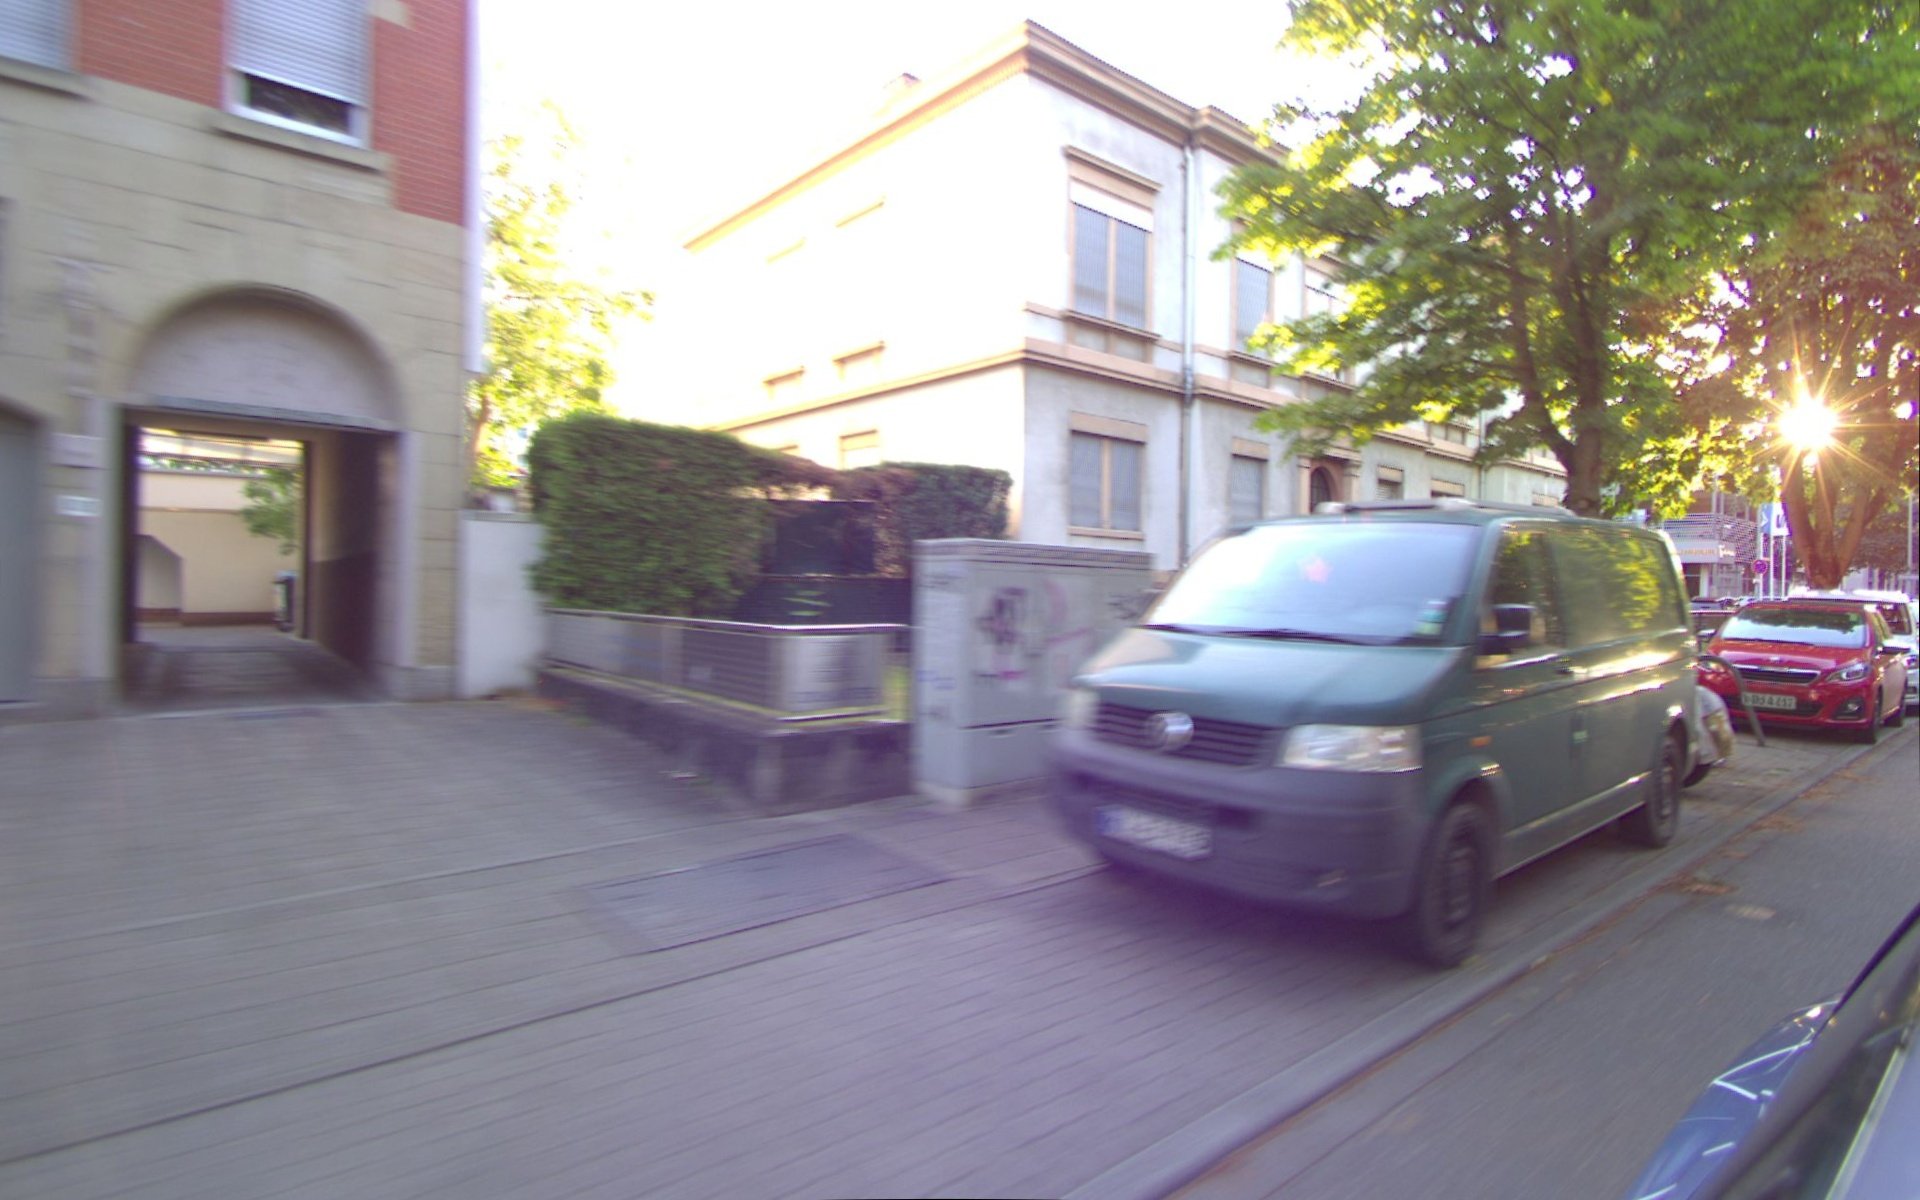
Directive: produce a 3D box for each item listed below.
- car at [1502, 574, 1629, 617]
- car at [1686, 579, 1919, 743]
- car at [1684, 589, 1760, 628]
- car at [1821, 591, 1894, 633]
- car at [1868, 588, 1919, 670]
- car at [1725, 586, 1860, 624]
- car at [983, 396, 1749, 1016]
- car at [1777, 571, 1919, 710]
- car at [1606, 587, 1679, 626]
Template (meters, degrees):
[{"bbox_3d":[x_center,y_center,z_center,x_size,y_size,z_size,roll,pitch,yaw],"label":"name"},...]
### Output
[{"bbox_3d":[23.636,-0.212,39.606,1.603,1.564,3.941,0,1,-37],"label":"car"},{"bbox_3d":[9.893,0.605,11.678,3.630,1.518,1.667,1,3,-42],"label":"car"},{"bbox_3d":[33.267,0.339,44.133,4.052,1.626,1.717,-1,1,-39],"label":"car"},{"bbox_3d":[36.322,0.475,40.941,3.834,1.592,1.766,1,0,-42],"label":"car"},{"bbox_3d":[20.441,0.630,21.043,3.891,1.576,1.735,1,3,-40],"label":"car"},{"bbox_3d":[38.512,0.228,46.903,1.839,1.664,4.584,1,0,-41],"label":"car"},{"bbox_3d":[2.581,0.336,5.693,4.745,2.084,1.958,1,3,-41],"label":"car"},{"bbox_3d":[13.137,0.518,14.722,1.664,1.699,4.057,5,3,42],"label":"car"},{"bbox_3d":[31.328,0.252,46.435,3.626,1.611,1.706,-2,2,-37],"label":"car"}]
